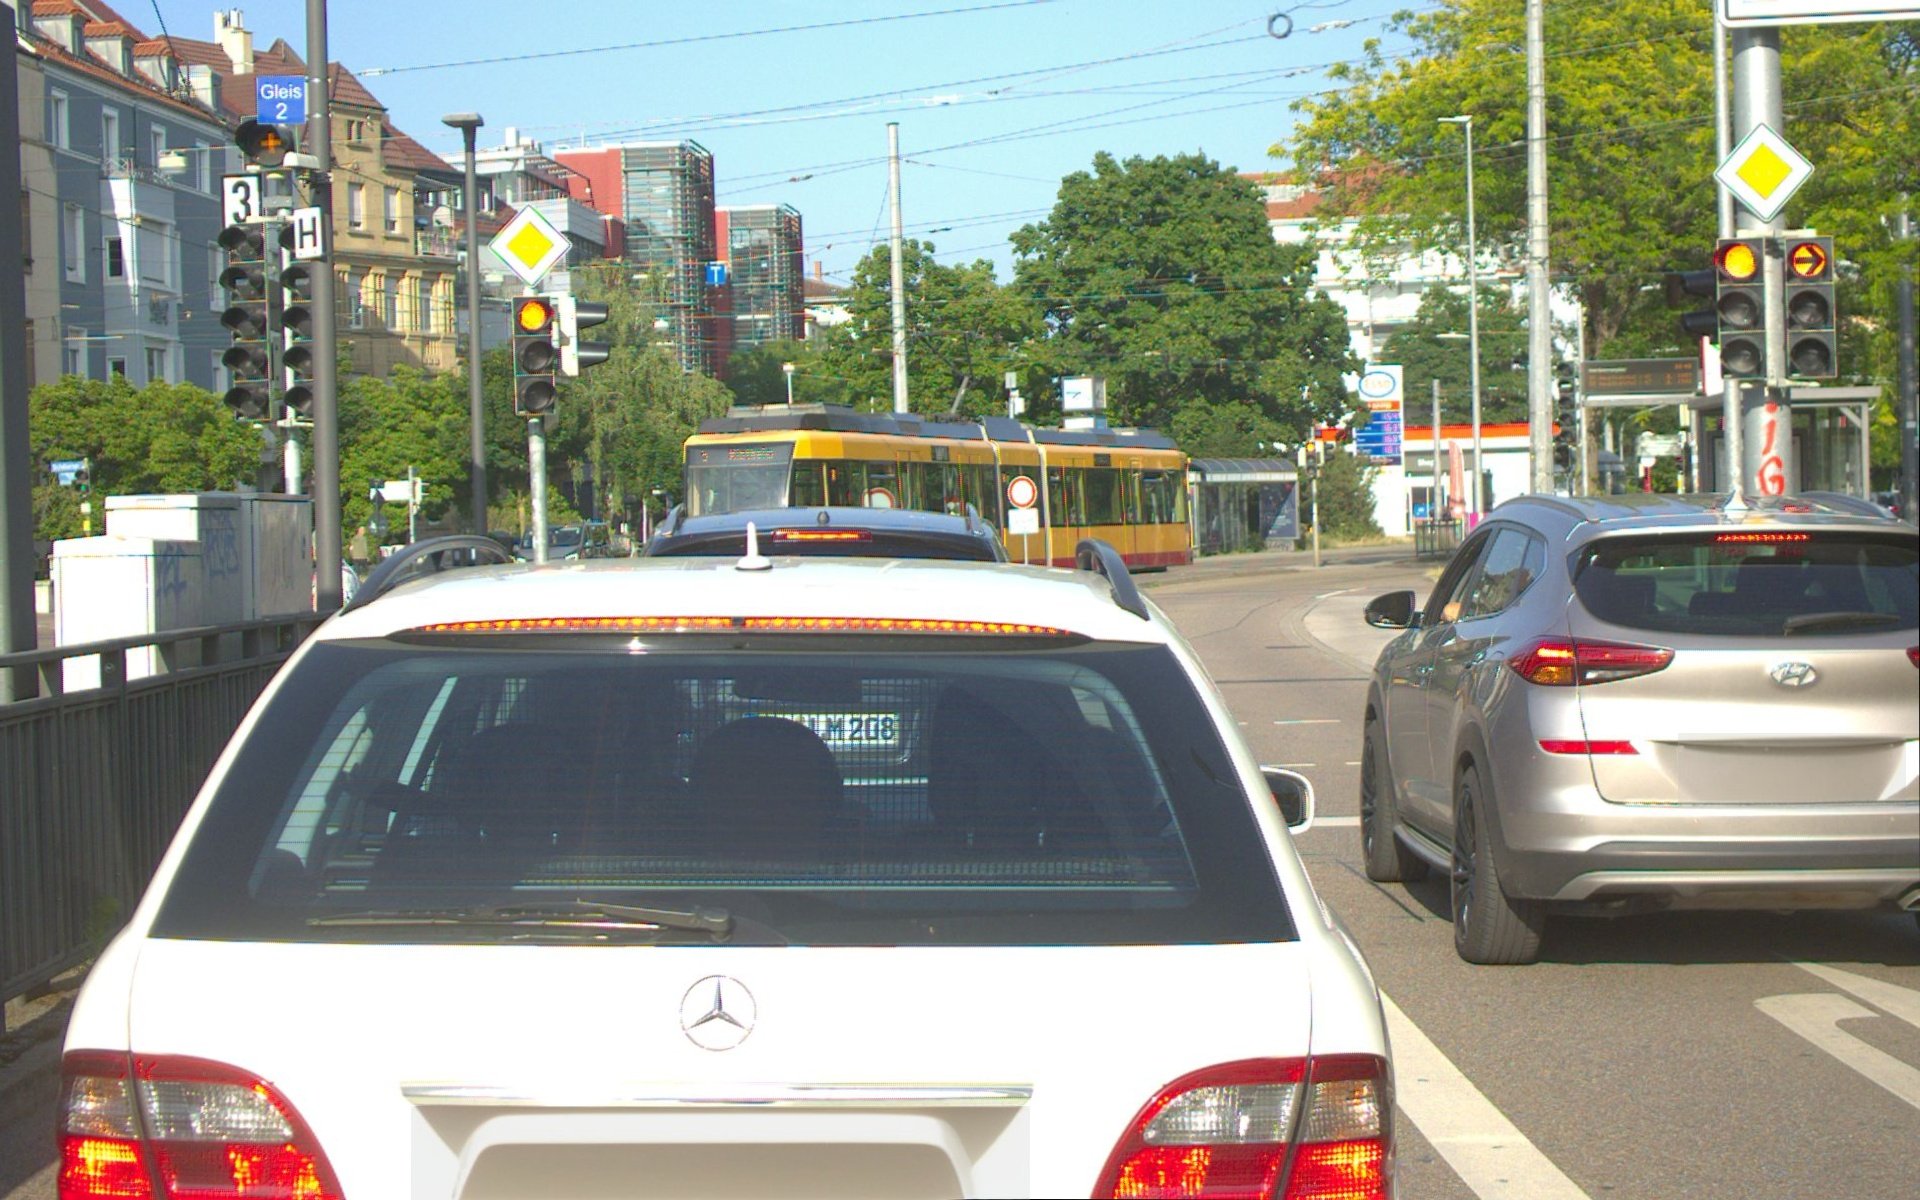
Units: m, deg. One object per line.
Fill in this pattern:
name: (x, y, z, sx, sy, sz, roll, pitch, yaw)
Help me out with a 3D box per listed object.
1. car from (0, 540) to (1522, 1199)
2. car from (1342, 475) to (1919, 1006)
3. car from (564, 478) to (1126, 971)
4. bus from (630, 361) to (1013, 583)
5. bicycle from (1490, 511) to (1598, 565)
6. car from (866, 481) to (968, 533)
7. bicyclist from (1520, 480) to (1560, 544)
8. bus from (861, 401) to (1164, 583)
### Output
car: (-0.305, 0.645, 5.595, 1.796, 1.465, 3.648, 0, 1, -1)
car: (2.603, 0.399, 12.745, 1.885, 1.645, 3.648, -2, 1, -1)
car: (-0.407, 0.382, 13.453, 1.885, 1.645, 3.648, 1, 1, -1)
bus: (-2.197, -2.148, 62.162, 3.111, 3.593, 12.365, 1, 1, 16)
bicycle: (13.853, -1.478, 81.638, 2.483, 1.209, 0.806, -1, 1, 8)
car: (-1.709, -3.660, 135.481, 3.986, 2.007, 2.000, 1, 1, -1)
bicyclist: (13.762, -2.094, 81.621, 0.861, 1.476, 0.789, -1, 1, 8)
bus: (1.386, -2.202, 74.190, 3.111, 3.593, 12.580, 1, 1, 17)
